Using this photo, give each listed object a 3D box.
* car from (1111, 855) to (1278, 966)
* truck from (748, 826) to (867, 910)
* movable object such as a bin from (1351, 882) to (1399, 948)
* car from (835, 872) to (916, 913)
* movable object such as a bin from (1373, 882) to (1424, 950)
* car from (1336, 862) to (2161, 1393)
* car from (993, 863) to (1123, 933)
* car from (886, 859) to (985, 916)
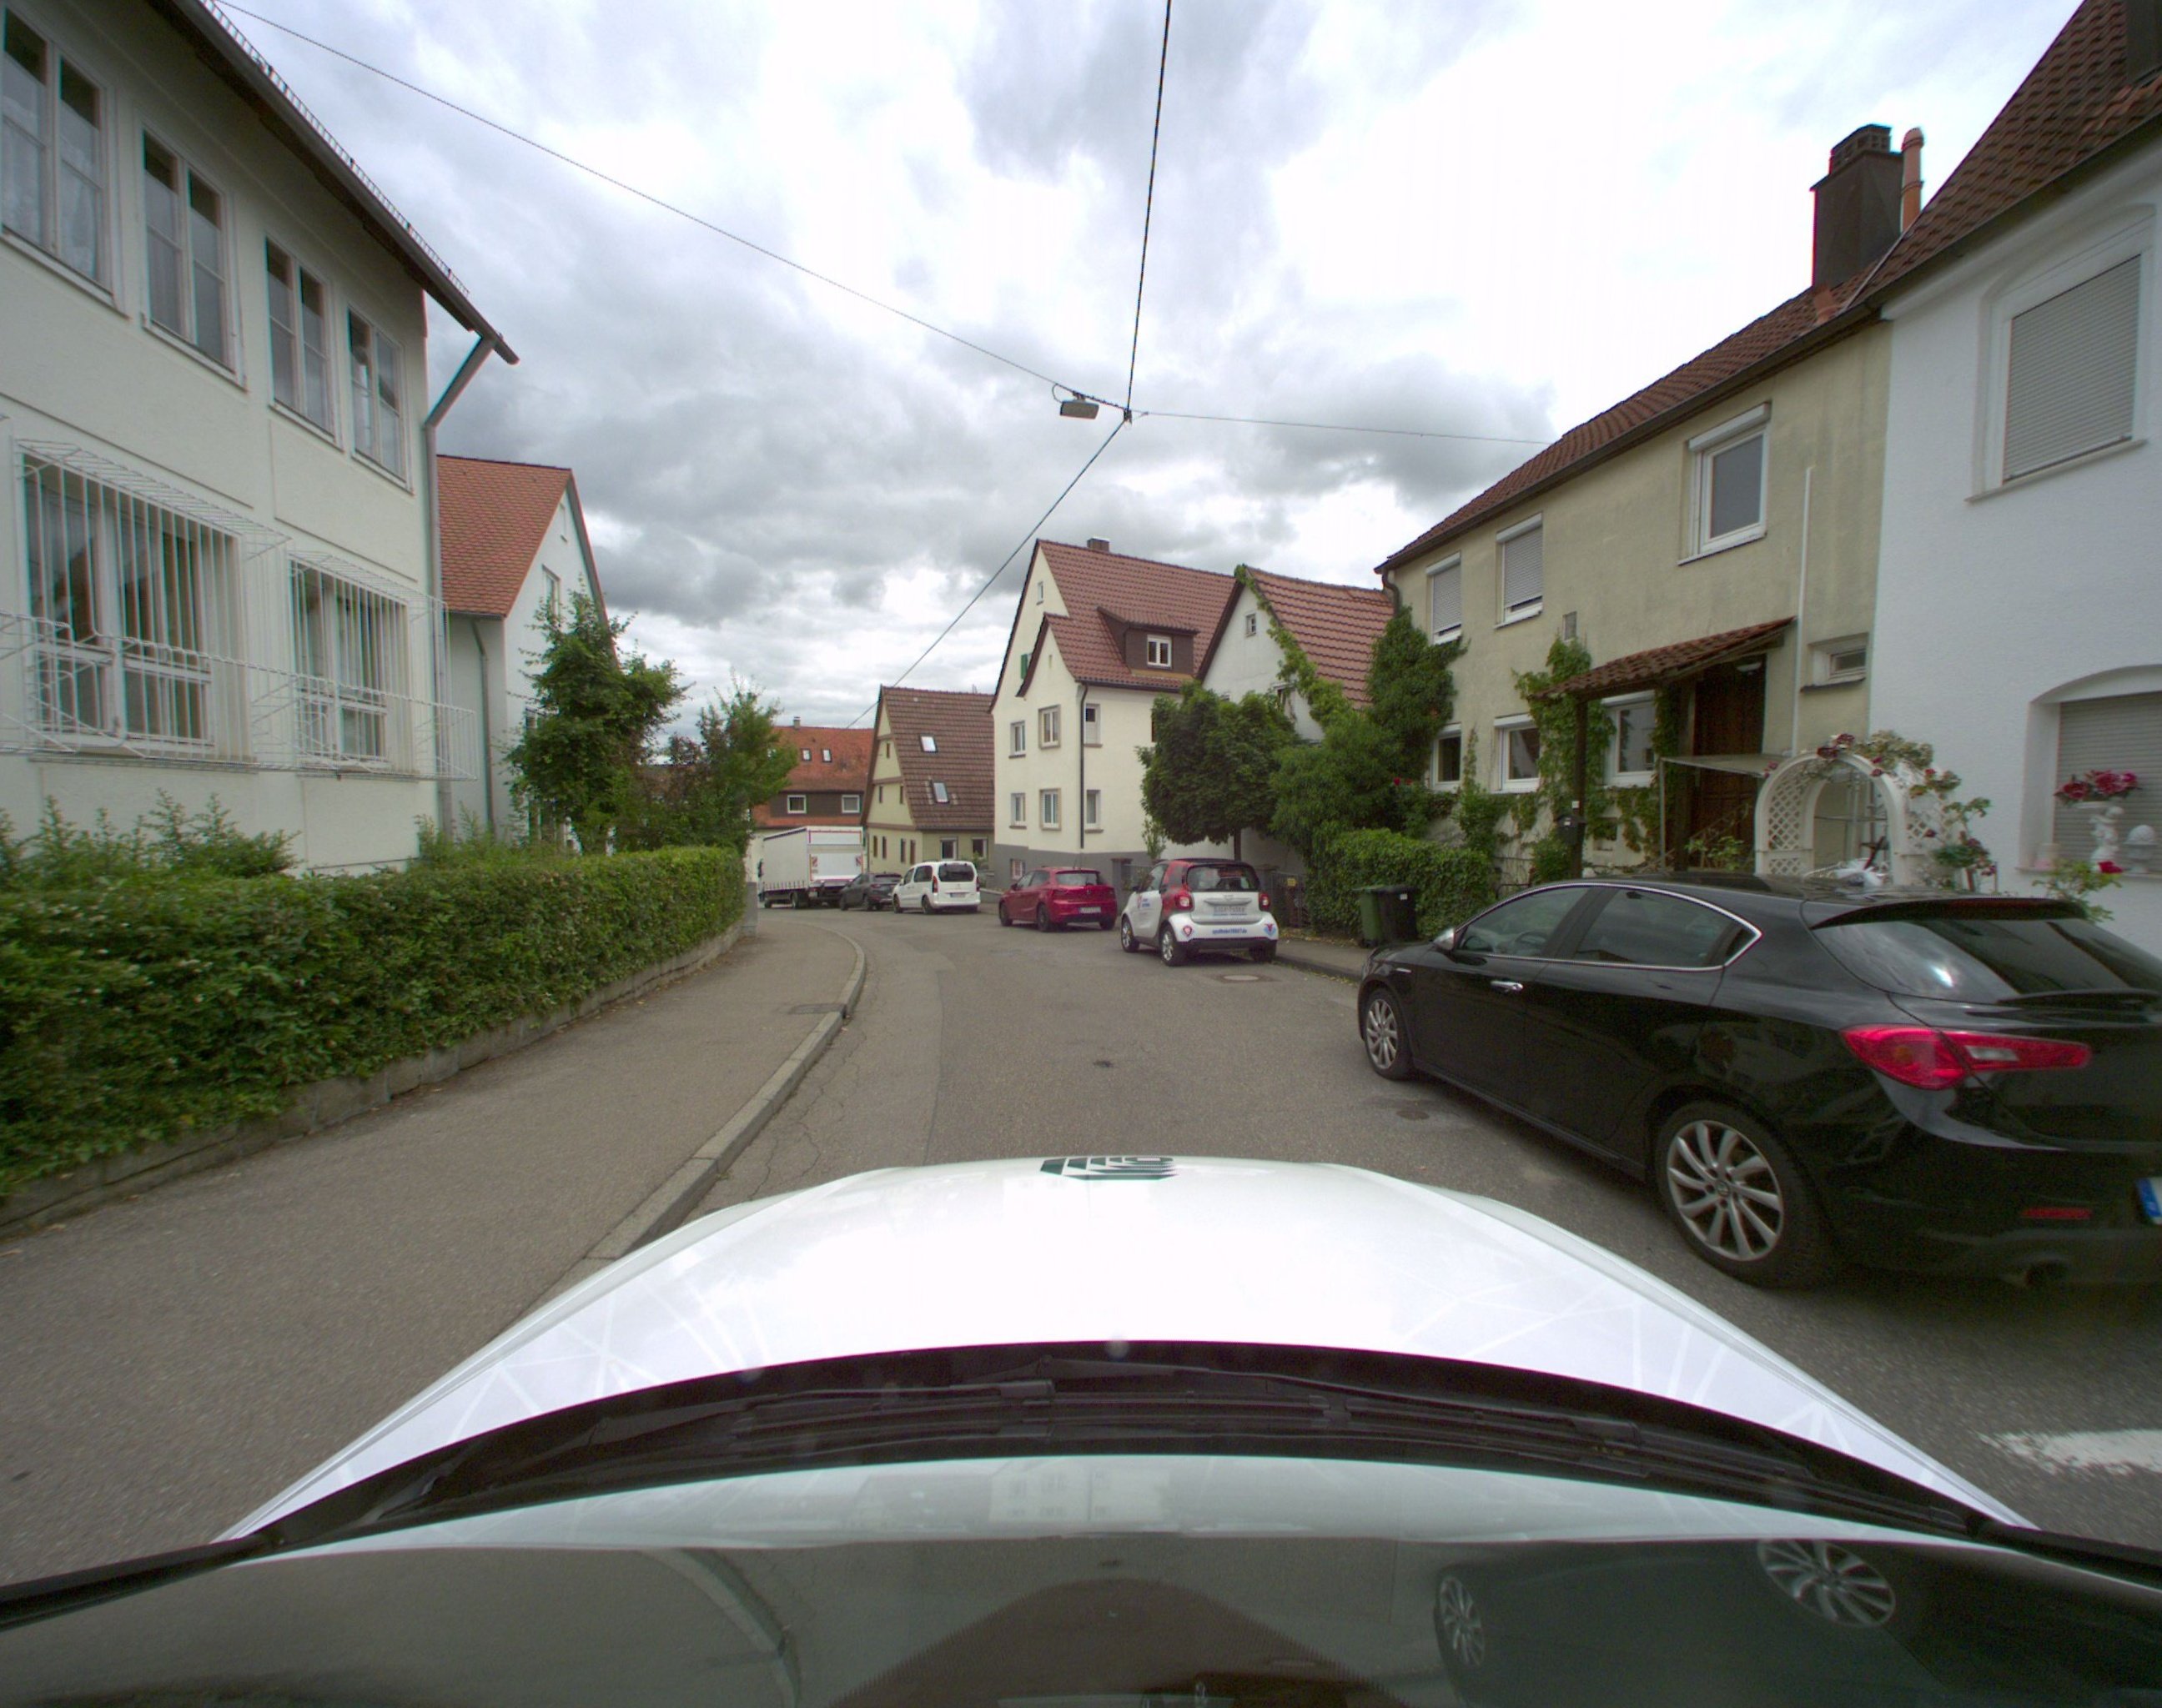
[{"bbox_3d":[1.689,0.822,12.918,1.614,1.532,2.881,1,-2,-16],"label":"car"},{"bbox_3d":[-13.121,0.724,38.524,2.698,3.597,8.012,-1,-2,-38],"label":"truck"},{"bbox_3d":[4.348,0.893,12.051,0.438,0.913,0.444,-4,-2,-11],"label":"movable object such as a bin"},{"bbox_3d":[-8.313,1.545,32.720,1.746,1.506,4.005,0,-3,-37],"label":"car"},{"bbox_3d":[4.493,0.870,11.536,0.438,0.898,0.444,-4,-2,-11],"label":"movable object such as a bin"},{"bbox_3d":[3.018,0.769,4.315,1.716,1.407,3.993,0,0,-7],"label":"car"},{"bbox_3d":[-0.655,0.999,19.323,1.687,1.452,3.819,0,-2,-26],"label":"car"},{"bbox_3d":[-5.137,1.145,28.324,1.848,1.814,4.258,0,-2,-34],"label":"car"}]
